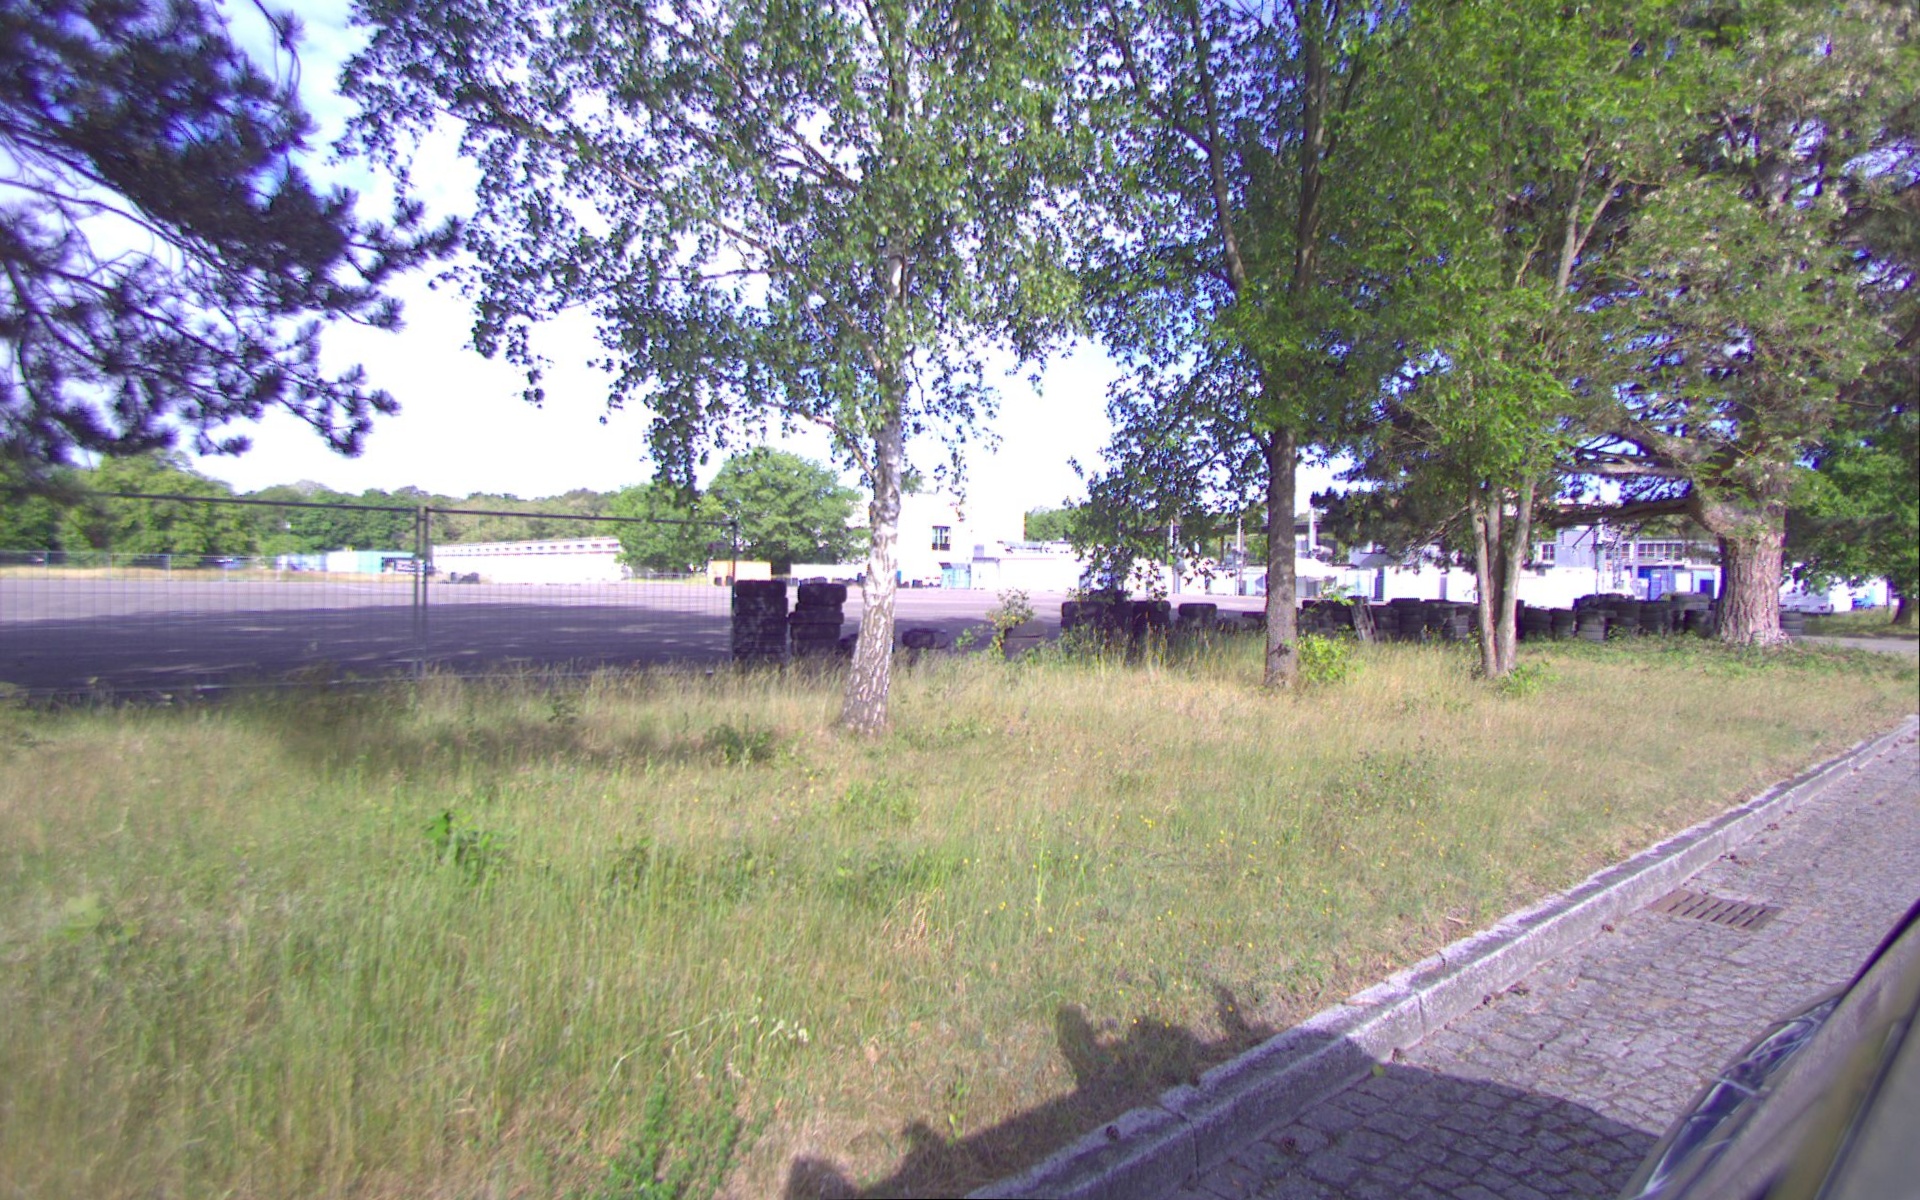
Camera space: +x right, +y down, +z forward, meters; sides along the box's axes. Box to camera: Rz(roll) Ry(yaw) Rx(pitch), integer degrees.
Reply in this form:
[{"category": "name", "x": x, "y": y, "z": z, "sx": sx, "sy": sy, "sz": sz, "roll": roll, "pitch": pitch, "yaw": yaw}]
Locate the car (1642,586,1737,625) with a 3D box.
[{"category": "car", "x": 29.405, "y": 0.192, "z": 40.763, "sx": 3.923, "sy": 1.467, "sz": 1.849, "roll": 0, "pitch": 2, "yaw": -34}]
